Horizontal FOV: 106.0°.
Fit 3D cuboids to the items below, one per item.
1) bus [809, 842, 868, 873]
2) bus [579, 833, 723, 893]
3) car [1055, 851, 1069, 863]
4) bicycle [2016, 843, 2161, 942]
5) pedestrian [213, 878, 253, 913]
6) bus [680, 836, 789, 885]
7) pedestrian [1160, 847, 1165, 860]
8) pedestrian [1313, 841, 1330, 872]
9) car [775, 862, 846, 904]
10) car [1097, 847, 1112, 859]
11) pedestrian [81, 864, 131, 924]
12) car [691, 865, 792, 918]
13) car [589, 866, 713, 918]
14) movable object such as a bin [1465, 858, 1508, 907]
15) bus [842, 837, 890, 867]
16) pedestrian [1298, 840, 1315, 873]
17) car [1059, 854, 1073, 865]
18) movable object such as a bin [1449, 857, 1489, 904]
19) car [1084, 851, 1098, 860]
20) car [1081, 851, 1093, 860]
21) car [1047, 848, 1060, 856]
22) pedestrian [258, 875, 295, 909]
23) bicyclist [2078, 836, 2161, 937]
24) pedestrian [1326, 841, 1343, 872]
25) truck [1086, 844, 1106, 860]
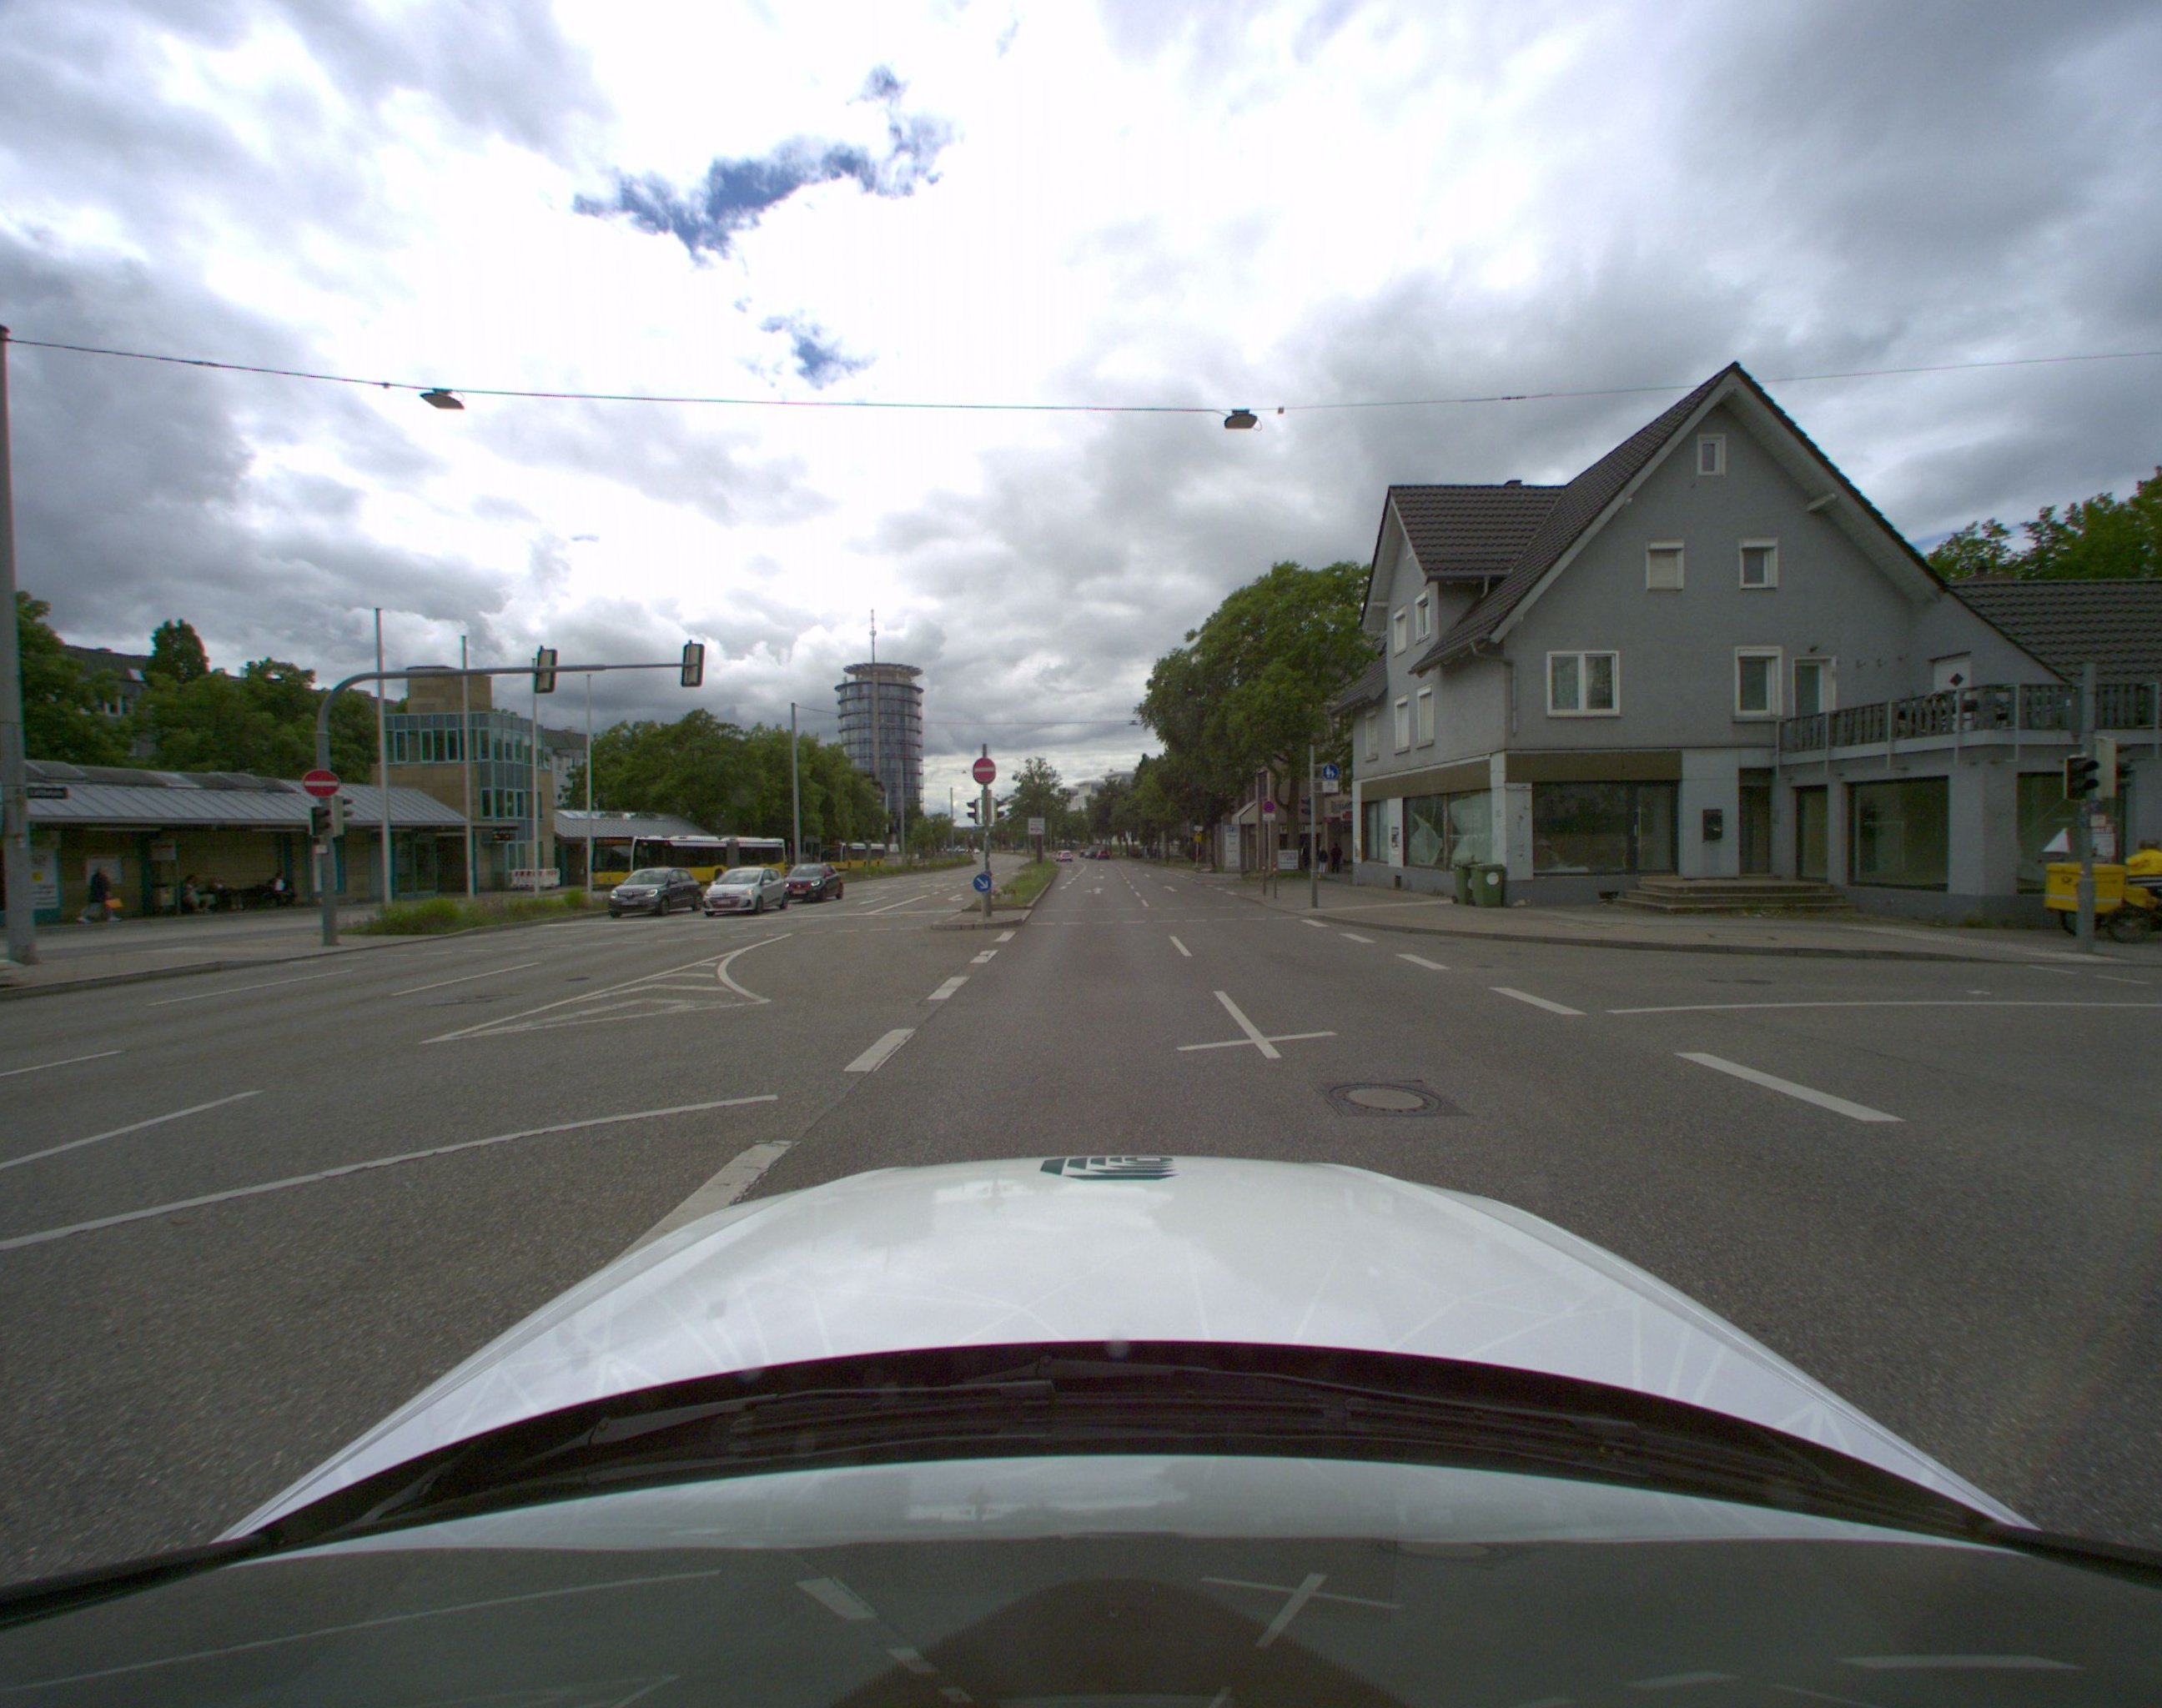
[{"bbox_3d":[-26.336,0.343,89.185,3.073,3.162,10.738,0,0,1],"label":"bus"},{"bbox_3d":[-24.755,0.419,47.614,2.763,3.132,9.450,1,0,4],"label":"bus"},{"bbox_3d":[-2.948,0.490,123.877,1.989,1.672,3.996,-1,0,-3],"label":"car"},{"bbox_3d":[17.363,0.610,13.354,2.662,1.507,0.965,0,4,6],"label":"bicycle"},{"bbox_3d":[-28.128,1.372,27.027,0.617,1.121,0.658,-1,0,2],"label":"pedestrian"},{"bbox_3d":[-23.900,0.404,56.872,2.795,3.132,9.315,1,0,6],"label":"bus"},{"bbox_3d":[10.479,-0.031,104.641,0.565,1.700,0.829,-1,0,1],"label":"pedestrian"},{"bbox_3d":[13.479,0.166,45.702,0.655,1.691,0.843,-3,0,1],"label":"pedestrian"},{"bbox_3d":[-10.670,1.099,32.373,1.654,1.508,3.765,-1,0,-2],"label":"car"},{"bbox_3d":[3.458,-0.157,122.301,1.988,1.596,3.997,-1,0,-2],"label":"car"},{"bbox_3d":[-27.607,1.127,23.064,0.617,1.649,0.658,-1,-1,2],"label":"pedestrian"},{"bbox_3d":[-10.887,1.154,26.410,1.740,1.465,3.788,-1,1,-2],"label":"car"},{"bbox_3d":[-14.066,1.187,26.928,1.808,1.508,4.002,-1,0,2],"label":"car"},{"bbox_3d":[9.385,0.656,18.863,0.624,1.104,0.710,-1,0,0],"label":"movable object such as a bin"},{"bbox_3d":[-26.119,-0.293,99.394,3.020,3.455,9.913,0,0,1],"label":"bus"},{"bbox_3d":[12.666,0.149,45.815,0.655,1.826,0.843,-3,0,1],"label":"pedestrian"},{"bbox_3d":[-2.181,0.777,118.441,1.859,1.449,3.995,-1,0,-3],"label":"car"},{"bbox_3d":[9.345,0.624,19.629,0.606,1.104,0.710,-1,0,0],"label":"movable object such as a bin"},{"bbox_3d":[1.699,0.298,140.044,1.991,1.508,3.992,-2,0,-6],"label":"car"},{"bbox_3d":[1.111,0.283,150.095,1.990,1.508,3.994,-1,0,-4],"label":"car"},{"bbox_3d":[-5.019,-0.351,148.569,1.986,1.508,4.002,-1,0,2],"label":"car"},{"bbox_3d":[-28.033,1.323,28.381,0.617,1.121,0.658,-1,0,2],"label":"pedestrian"},{"bbox_3d":[17.418,0.502,13.365,0.930,1.598,0.965,0,1,6],"label":"bicyclist"},{"bbox_3d":[14.210,0.128,45.689,0.655,1.691,0.843,-3,0,1],"label":"pedestrian"},{"bbox_3d":[2.412,-0.351,132.665,2.853,2.519,6.280,-1,0,-3],"label":"truck"}]
